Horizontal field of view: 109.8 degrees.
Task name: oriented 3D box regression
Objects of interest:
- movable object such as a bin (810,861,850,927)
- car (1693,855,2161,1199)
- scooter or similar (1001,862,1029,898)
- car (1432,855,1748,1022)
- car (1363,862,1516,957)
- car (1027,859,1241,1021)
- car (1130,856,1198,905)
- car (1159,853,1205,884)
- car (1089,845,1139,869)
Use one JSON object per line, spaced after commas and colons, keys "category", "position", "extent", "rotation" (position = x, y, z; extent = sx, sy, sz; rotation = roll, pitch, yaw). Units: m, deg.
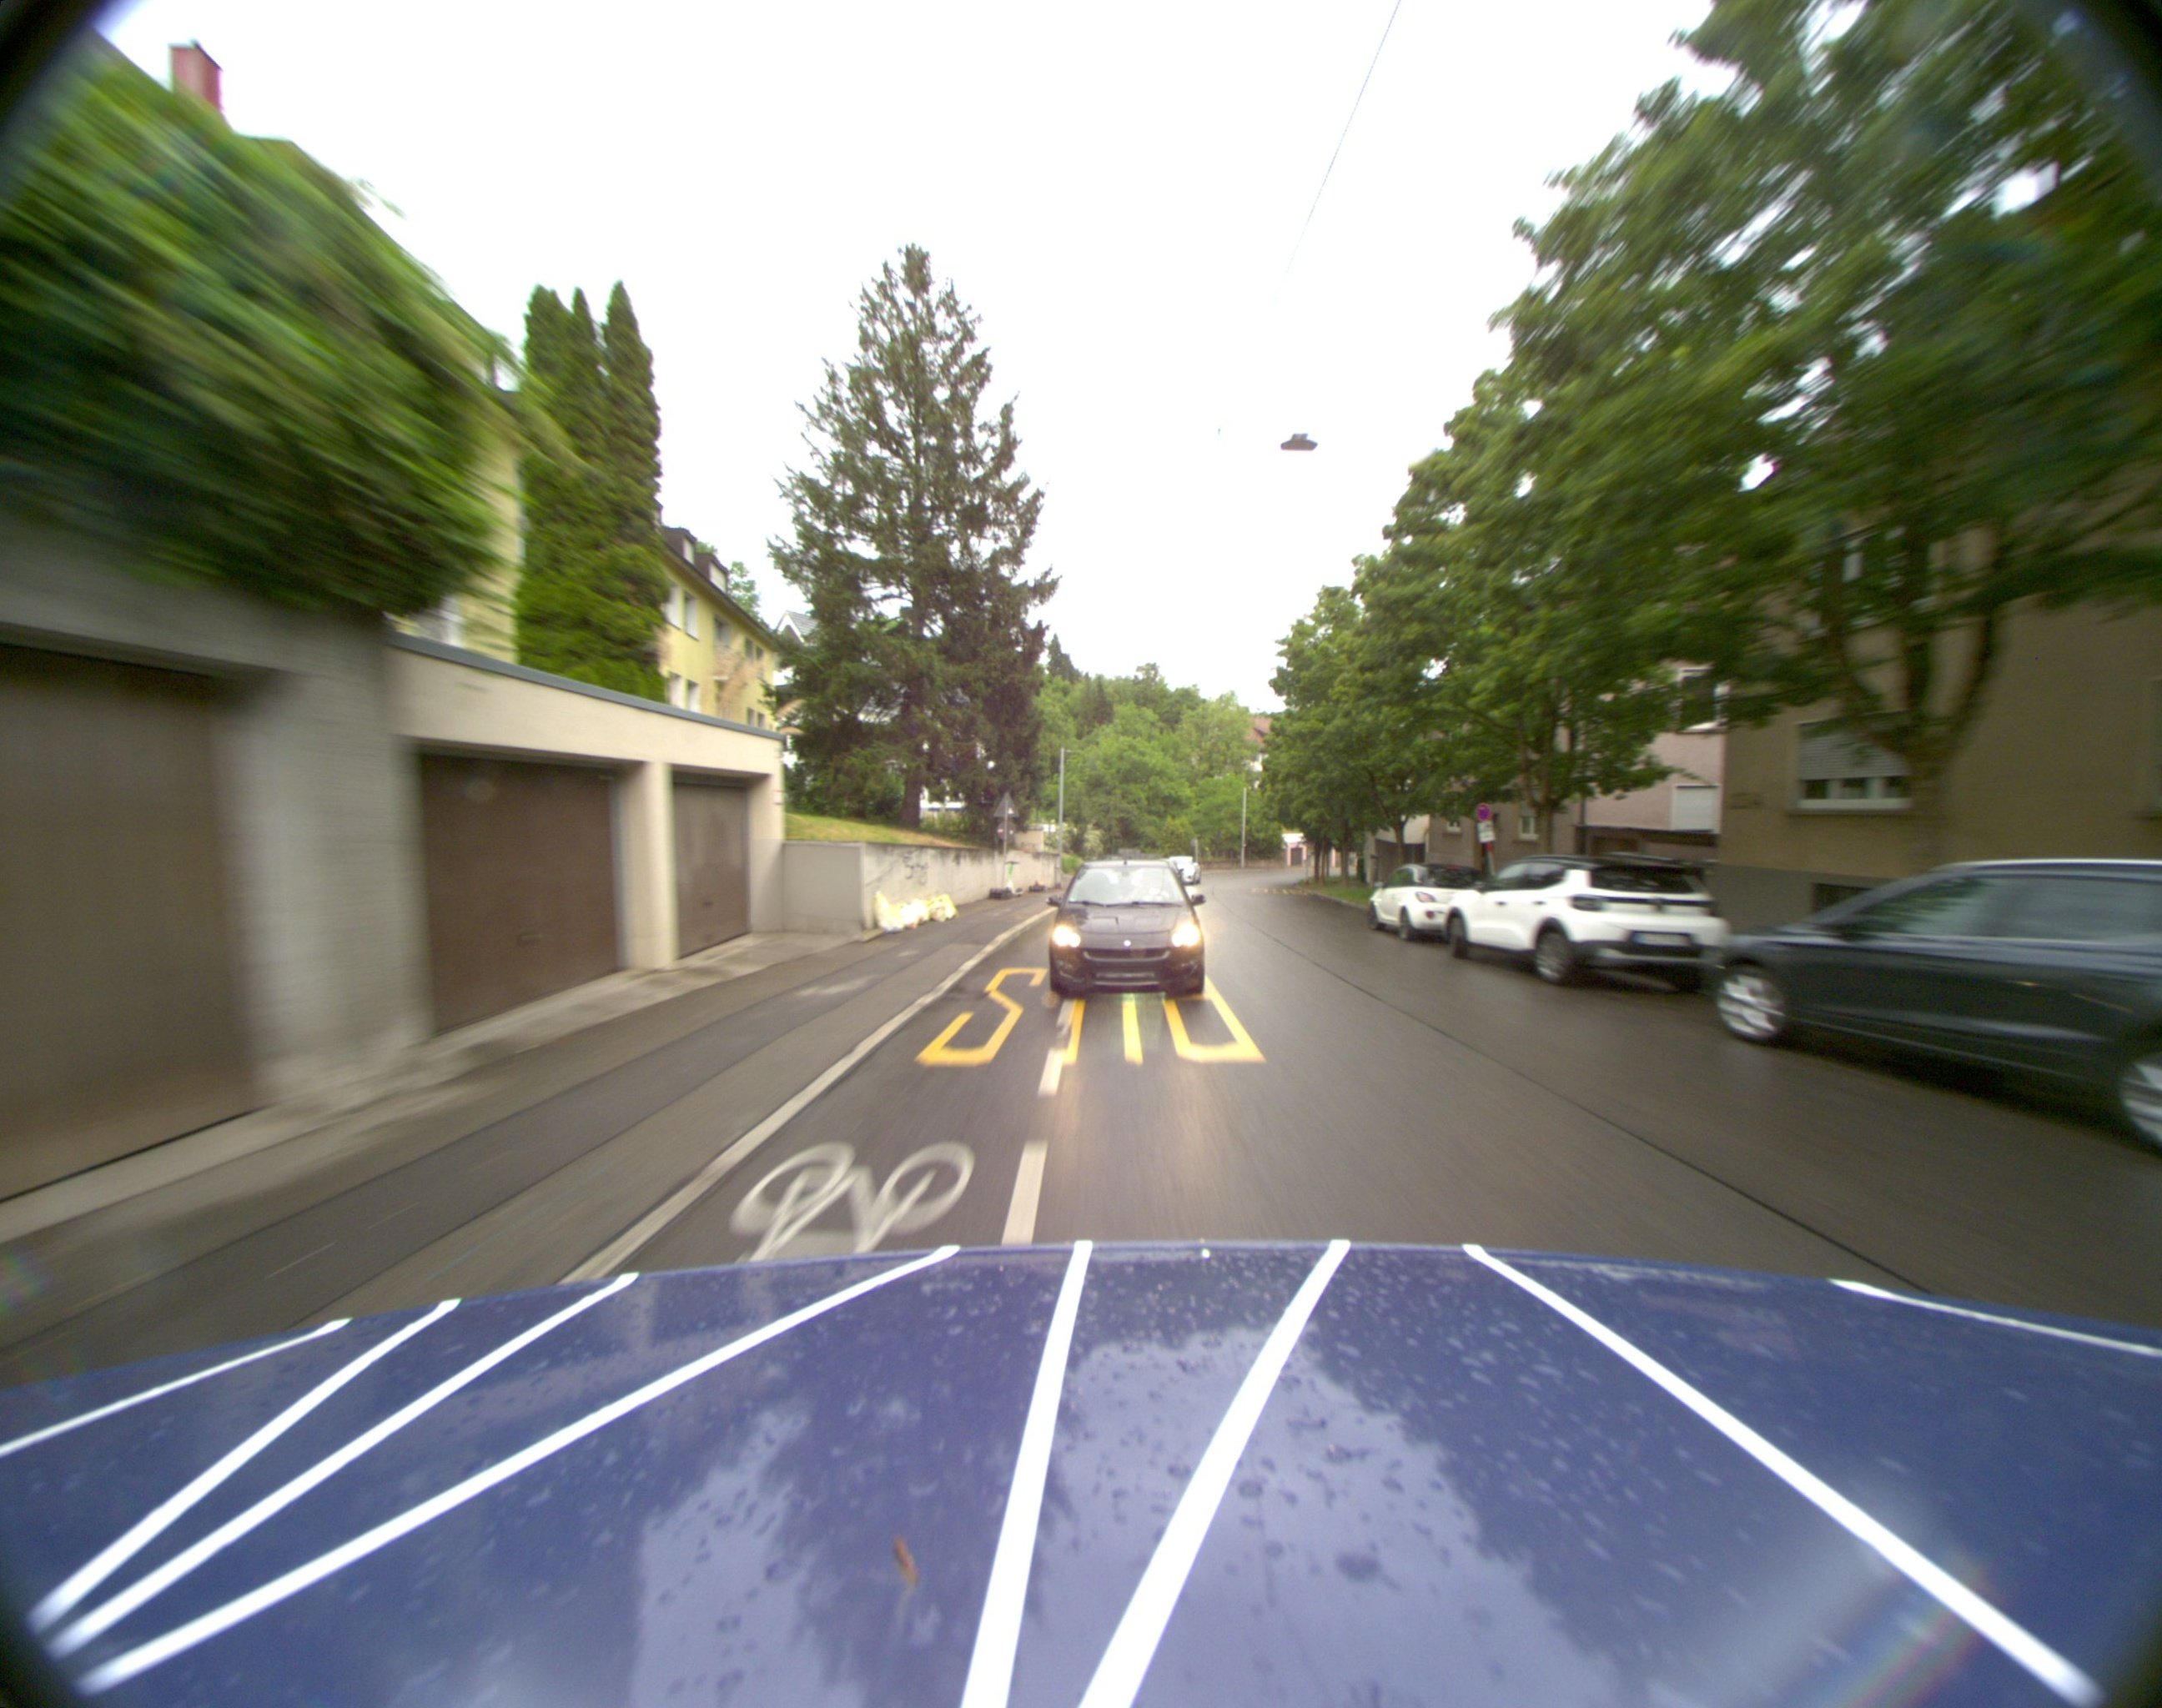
{"category": "movable object such as a bin", "position": [-4.267, 0.664, 12.944], "extent": [0.482, 1.086, 0.493], "rotation": [1, 1, 3]}
{"category": "car", "position": [6.198, 0.913, 4.669], "extent": [1.622, 1.649, 3.923], "rotation": [4, 1, 1]}
{"category": "scooter or similar", "position": [-2.143, 0.832, 24.827], "extent": [0.599, 1.126, 1.371], "rotation": [1, 1, 8]}
{"category": "car", "position": [6.459, 0.923, 10.264], "extent": [1.596, 1.649, 3.923], "rotation": [5, 1, 2]}
{"category": "car", "position": [6.918, 0.979, 15.077], "extent": [1.621, 1.463, 3.670], "rotation": [5, 1, 8]}
{"category": "car", "position": [0.829, 0.814, 9.008], "extent": [1.575, 1.444, 3.592], "rotation": [2, 0, 20]}
{"category": "car", "position": [2.718, 0.836, 25.631], "extent": [1.807, 1.480, 4.017], "rotation": [1, 0, 0]}
{"category": "car", "position": [5.942, 0.791, 44.234], "extent": [2.010, 1.652, 4.451], "rotation": [1, 0, 15]}
{"category": "car", "position": [2.481, 0.201, 57.019], "extent": [3.463, 1.623, 1.581], "rotation": [3, 2, 13]}
